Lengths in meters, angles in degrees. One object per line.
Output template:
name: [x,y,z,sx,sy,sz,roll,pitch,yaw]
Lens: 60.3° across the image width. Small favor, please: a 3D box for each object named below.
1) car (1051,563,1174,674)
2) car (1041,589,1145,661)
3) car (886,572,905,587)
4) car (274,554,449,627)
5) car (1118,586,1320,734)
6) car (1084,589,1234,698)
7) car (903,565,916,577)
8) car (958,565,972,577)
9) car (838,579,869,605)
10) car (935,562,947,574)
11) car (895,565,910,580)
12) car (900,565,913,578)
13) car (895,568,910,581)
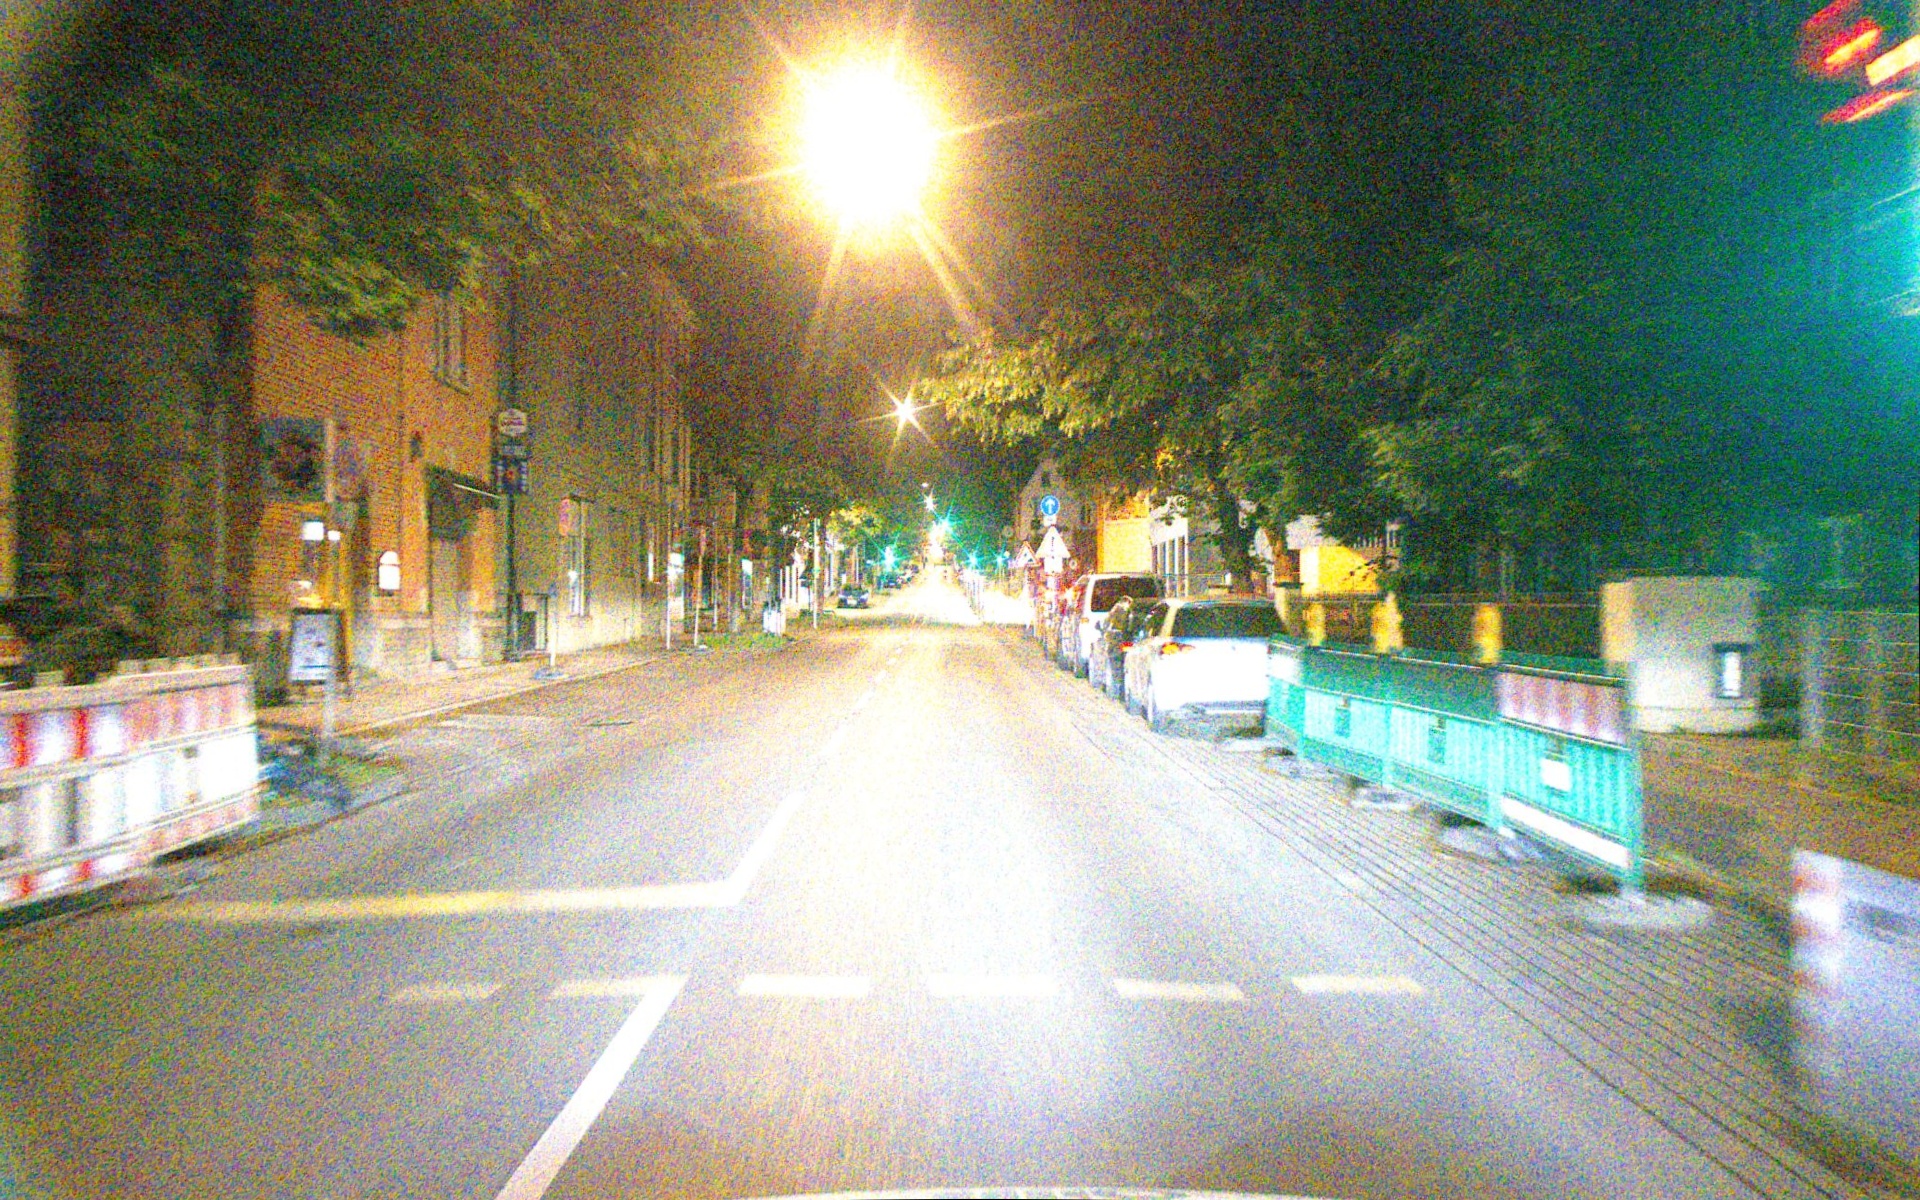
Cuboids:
car: [2.753,0.292,30.702,1.700,1.887,4.314,-1,1,-2]
car: [2.799,0.496,35.733,1.693,1.444,4.321,0,0,-3]
car: [-6.642,-2.108,169.671,1.835,1.571,4.204,0,1,-1]
car: [-22.544,-0.326,62.519,5.727,2.589,2.246,1,-2,-2]
car: [2.955,0.622,19.611,1.704,1.503,4.000,-2,1,0]
car: [2.894,0.586,24.909,1.651,1.445,4.443,-1,1,-1]
car: [-7.644,-4.422,249.359,1.835,1.846,4.205,0,1,0]
car: [0.627,-3.833,220.257,1.835,1.571,4.204,0,1,-1]
car: [-6.259,-0.497,97.484,1.637,1.468,4.204,0,1,-1]
car: [-2.884,-4.866,250.608,1.835,1.846,4.205,0,1,0]
car: [-7.368,-3.530,213.113,1.835,1.846,4.205,0,2,-1]
car: [-7.489,-4.026,231.408,1.835,1.846,4.204,0,1,-1]
car: [-7.186,-3.193,206.879,1.835,1.571,4.204,0,1,-1]
